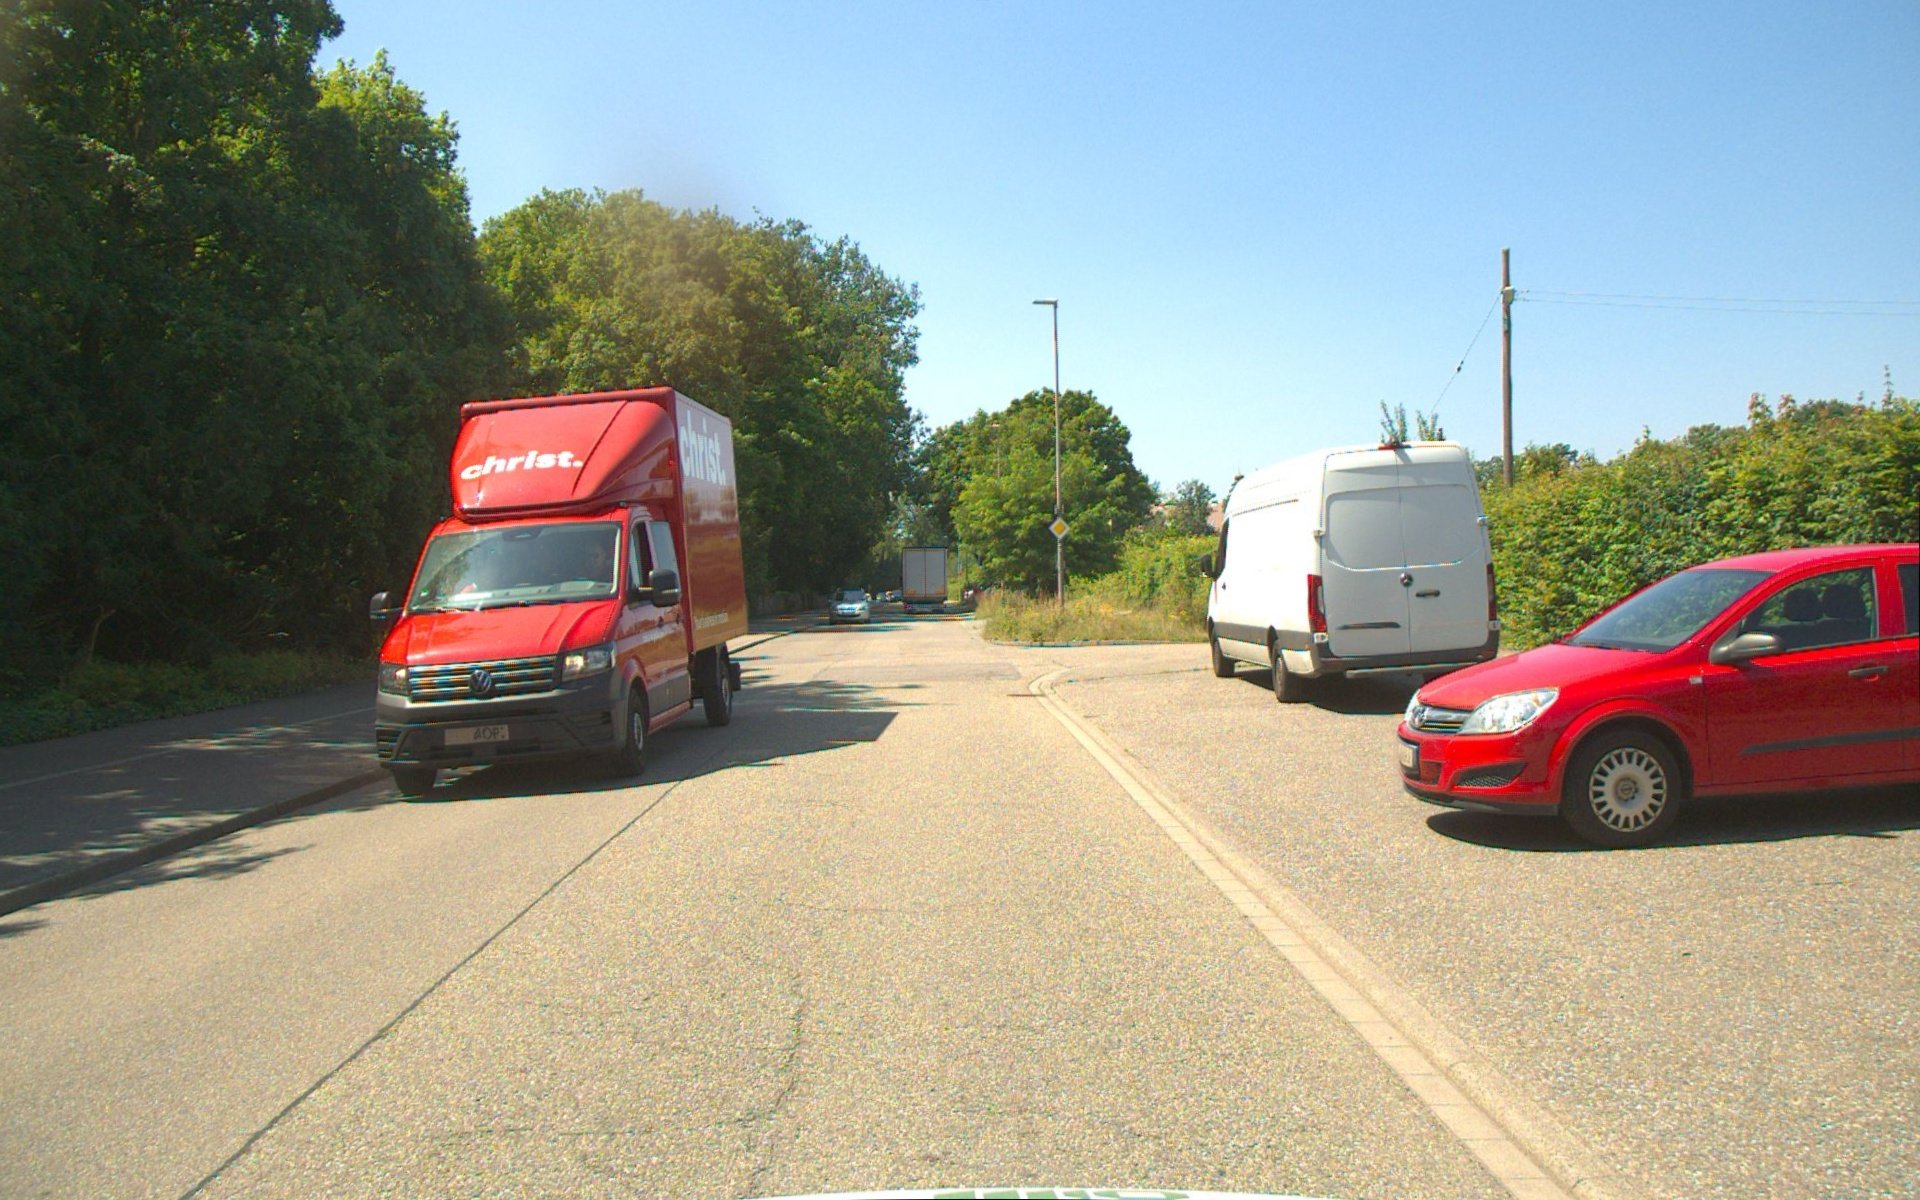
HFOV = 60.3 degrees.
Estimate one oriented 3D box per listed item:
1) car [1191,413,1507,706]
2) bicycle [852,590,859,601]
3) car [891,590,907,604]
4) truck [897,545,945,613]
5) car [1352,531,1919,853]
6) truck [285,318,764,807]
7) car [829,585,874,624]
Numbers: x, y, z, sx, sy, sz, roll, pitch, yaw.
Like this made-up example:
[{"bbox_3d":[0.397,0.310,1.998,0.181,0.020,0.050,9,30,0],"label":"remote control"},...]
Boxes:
[{"bbox_3d":[4.359,-0.454,19.973,1.915,2.780,7.167,-4,1,-1],"label":"car"},{"bbox_3d":[-11.875,-0.481,188.230,0.703,1.179,2.230,-2,0,-1],"label":"bicycle"},{"bbox_3d":[-7.914,-0.383,215.819,1.953,1.713,4.261,-2,0,-1],"label":"car"},{"bbox_3d":[-2.286,-1.255,99.700,2.678,3.811,13.243,0,0,-1],"label":"truck"},{"bbox_3d":[4.511,0.416,9.497,3.975,1.459,1.834,-4,1,-5],"label":"car"},{"bbox_3d":[-3.691,-0.334,15.980,2.275,3.499,7.163,-4,1,2],"label":"truck"},{"bbox_3d":[-4.723,0.156,72.460,1.755,1.600,4.270,-1,1,-2],"label":"car"}]
